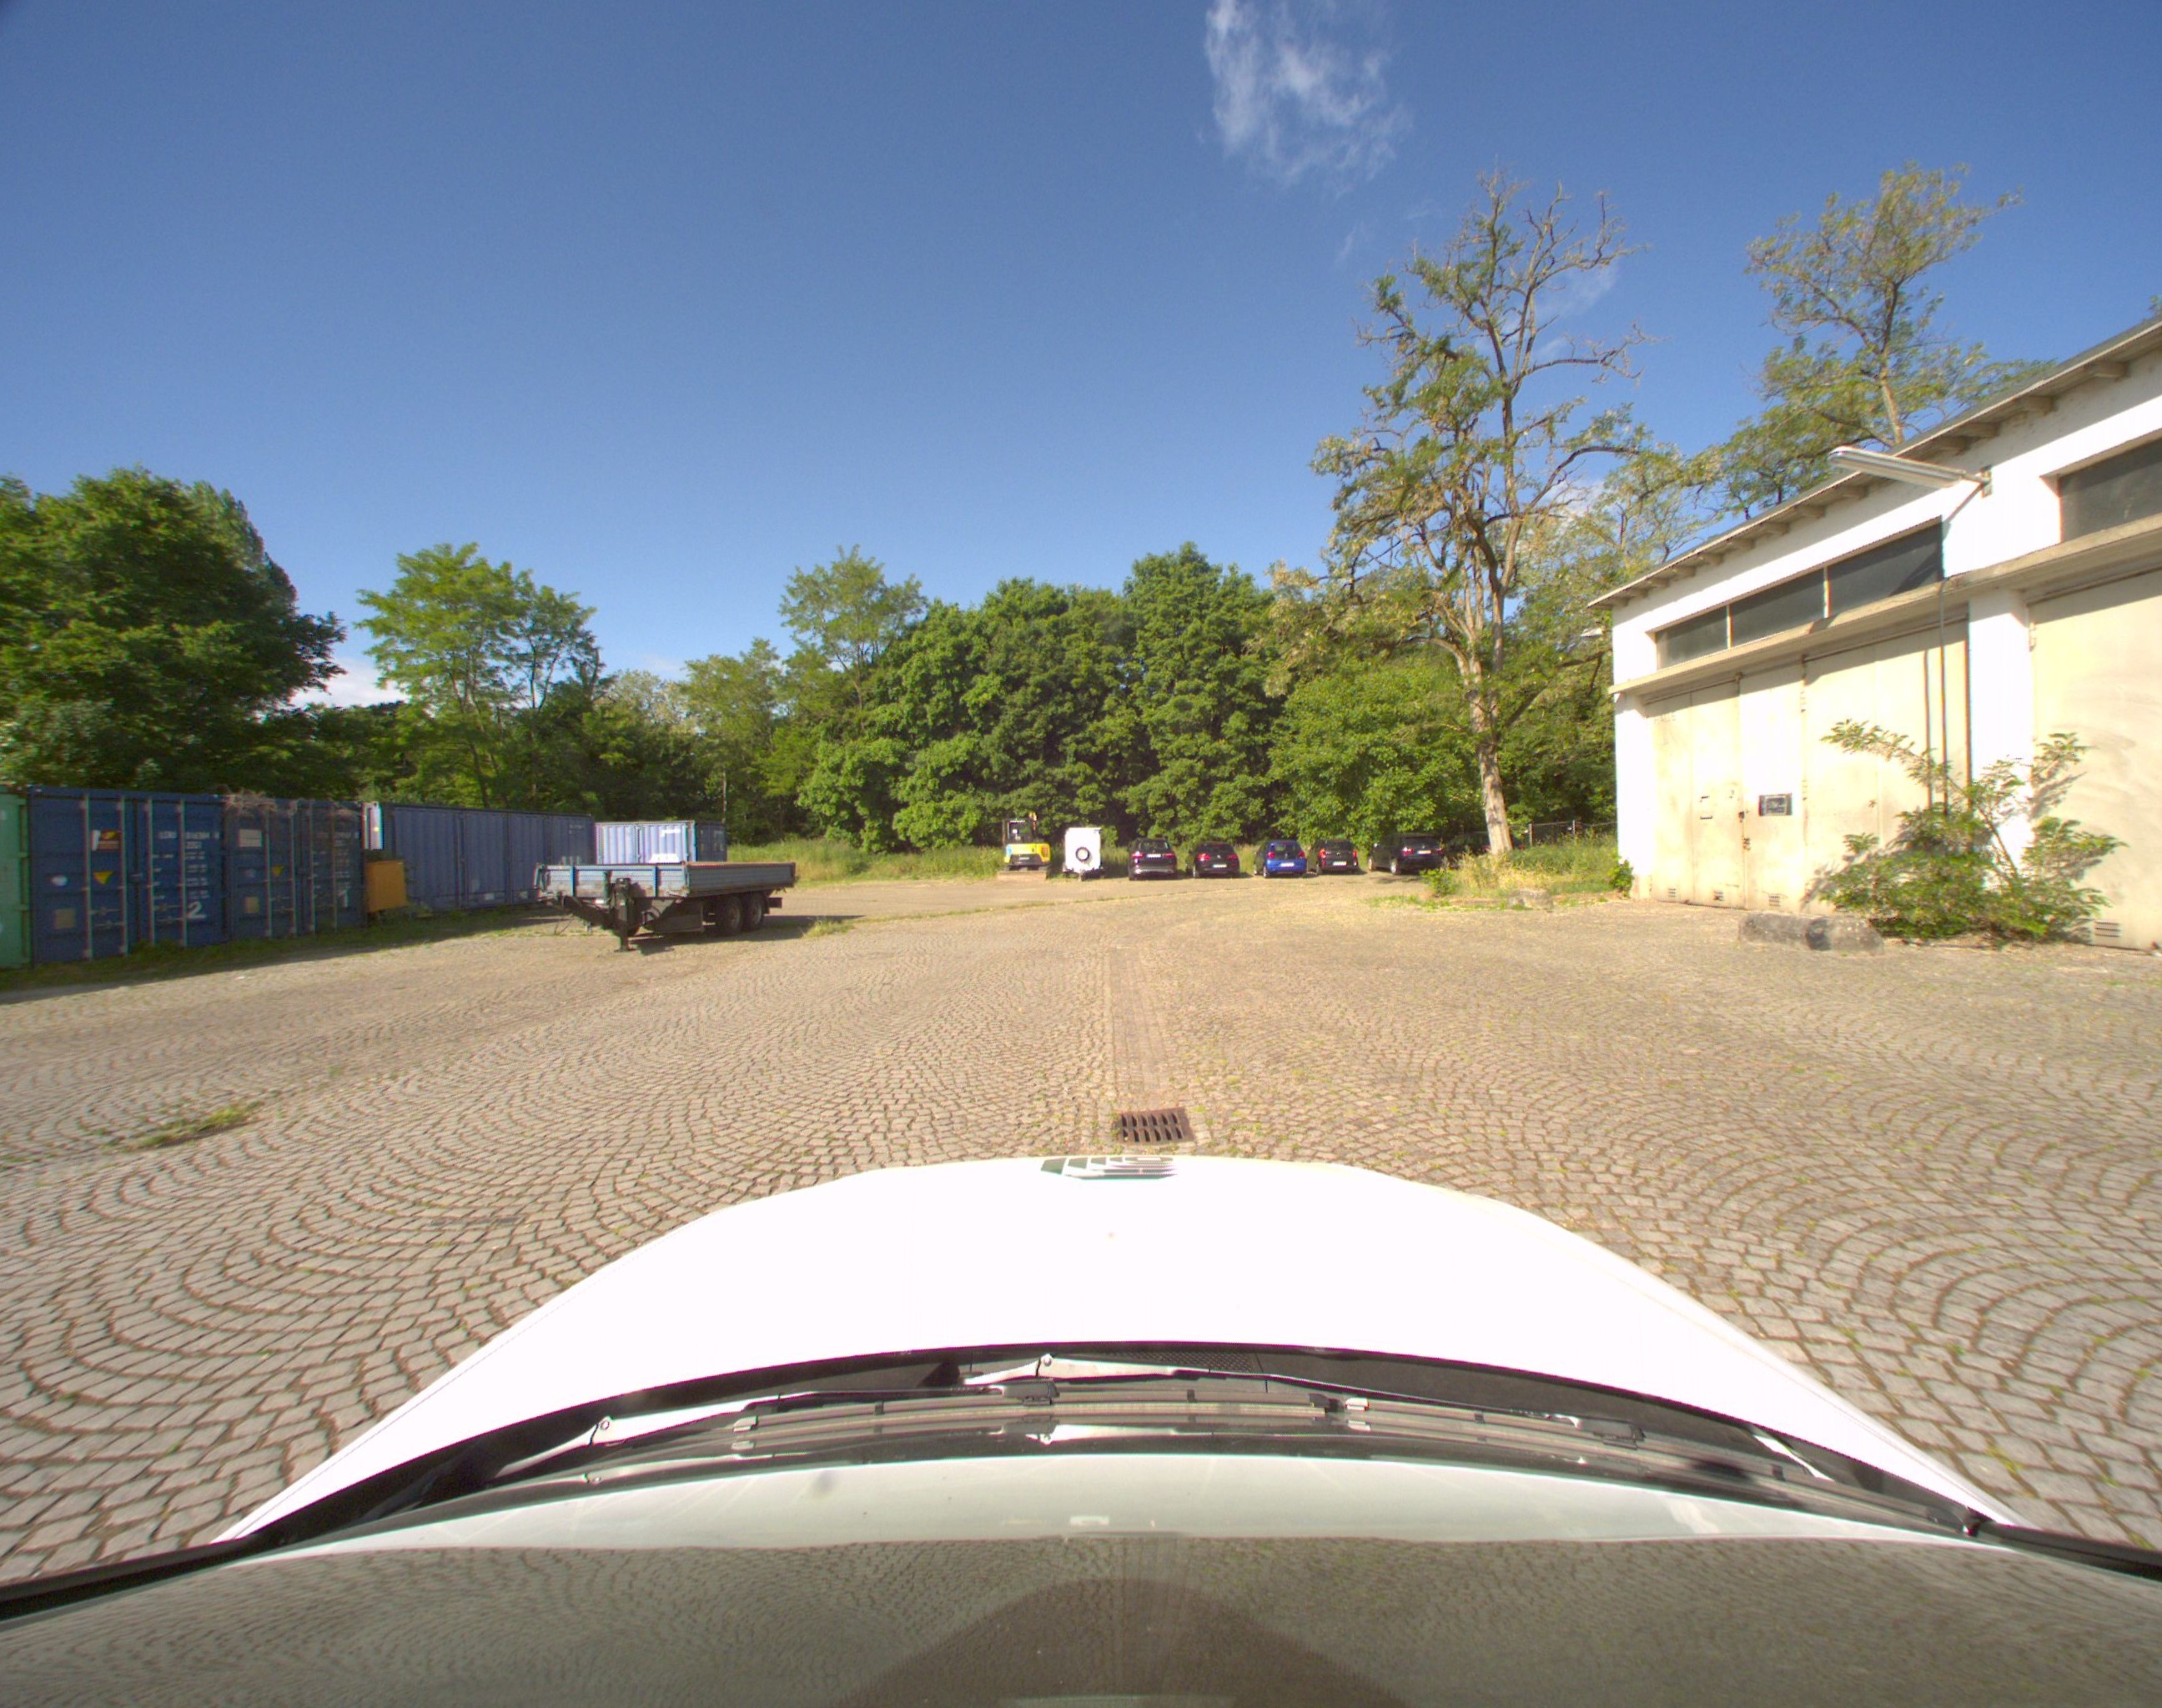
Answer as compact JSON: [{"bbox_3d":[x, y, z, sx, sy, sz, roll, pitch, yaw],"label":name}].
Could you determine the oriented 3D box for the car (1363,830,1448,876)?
[{"bbox_3d":[13.124,-0.111,33.239,1.868,1.630,4.275,-1,3,1],"label":"car"}]

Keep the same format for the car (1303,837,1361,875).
[{"bbox_3d":[10.412,0.034,34.009,1.729,1.451,3.733,0,2,7],"label":"car"}]

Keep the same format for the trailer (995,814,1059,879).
[{"bbox_3d":[-2.200,-0.364,34.024,2.249,2.537,2.854,-1,4,3],"label":"trailer"}]

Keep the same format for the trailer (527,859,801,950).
[{"bbox_3d":[-7.635,0.846,15.702,2.630,1.414,4.864,-1,0,2],"label":"trailer"}]

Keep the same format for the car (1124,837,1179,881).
[{"bbox_3d":[2.734,0.142,32.412,1.957,1.589,4.133,-1,2,2],"label":"car"}]

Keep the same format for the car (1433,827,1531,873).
[{"bbox_3d":[16.381,-0.216,33.519,1.819,1.588,4.270,-2,4,-3],"label":"car"}]

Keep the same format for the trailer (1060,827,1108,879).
[{"bbox_3d":[0.149,-0.087,33.780,1.811,2.050,2.853,-1,1,3],"label":"trailer"}]

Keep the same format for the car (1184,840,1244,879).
[{"bbox_3d":[5.284,0.163,32.765,1.882,1.411,3.792,-1,2,2],"label":"car"}]

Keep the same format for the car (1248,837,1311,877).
[{"bbox_3d":[7.906,0.090,32.787,1.772,1.458,3.793,-1,2,3],"label":"car"}]
